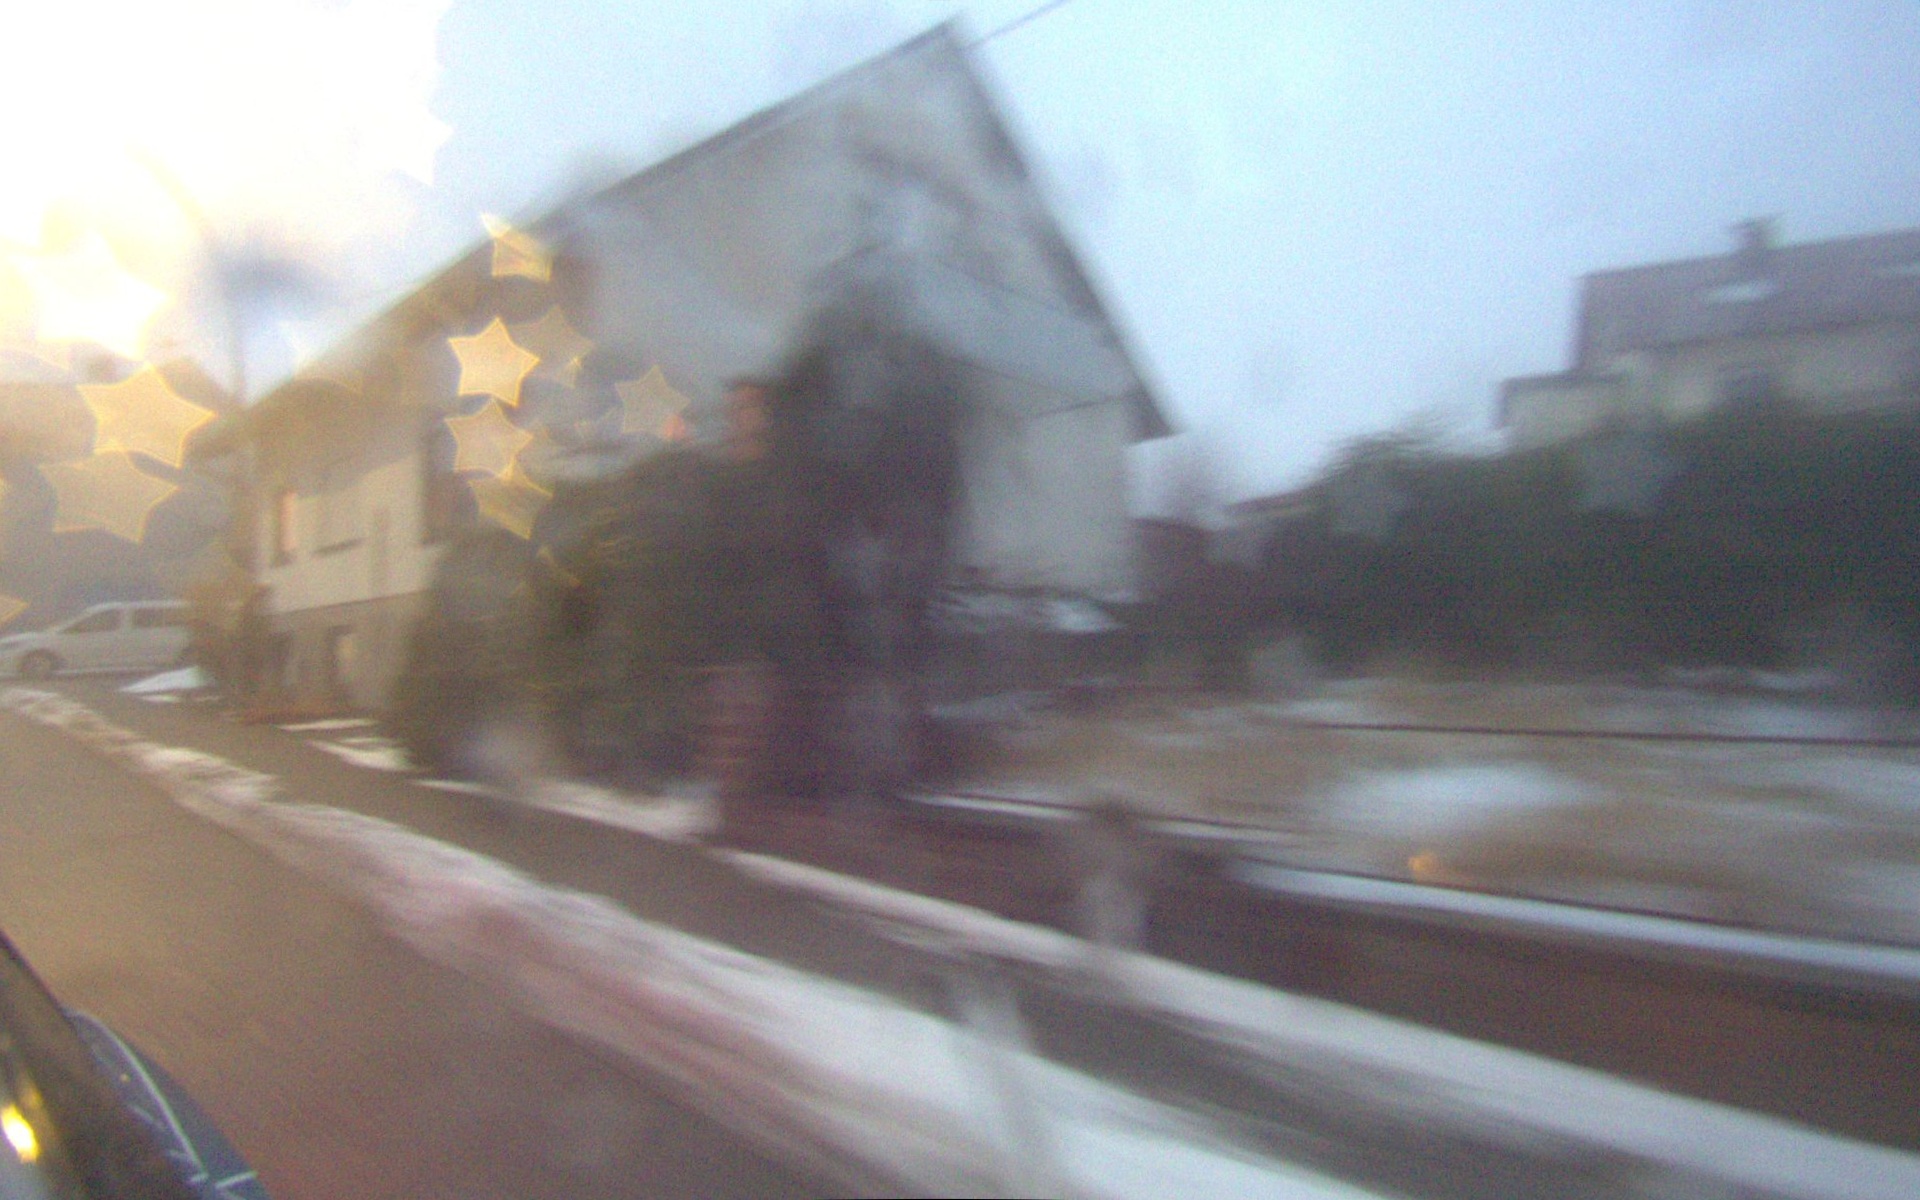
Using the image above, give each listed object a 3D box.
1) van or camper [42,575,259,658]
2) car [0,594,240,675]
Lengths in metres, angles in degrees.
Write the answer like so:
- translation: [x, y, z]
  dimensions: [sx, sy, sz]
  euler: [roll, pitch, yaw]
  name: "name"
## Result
- translation: [-26.063, 0.550, 32.893]
  dimensions: [2.125, 2.467, 5.281]
  euler: [0, -2, 14]
  name: "van or camper"
- translation: [-20.722, 0.783, 24.765]
  dimensions: [1.890, 1.679, 4.740]
  euler: [-1, 1, 43]
  name: "car"
